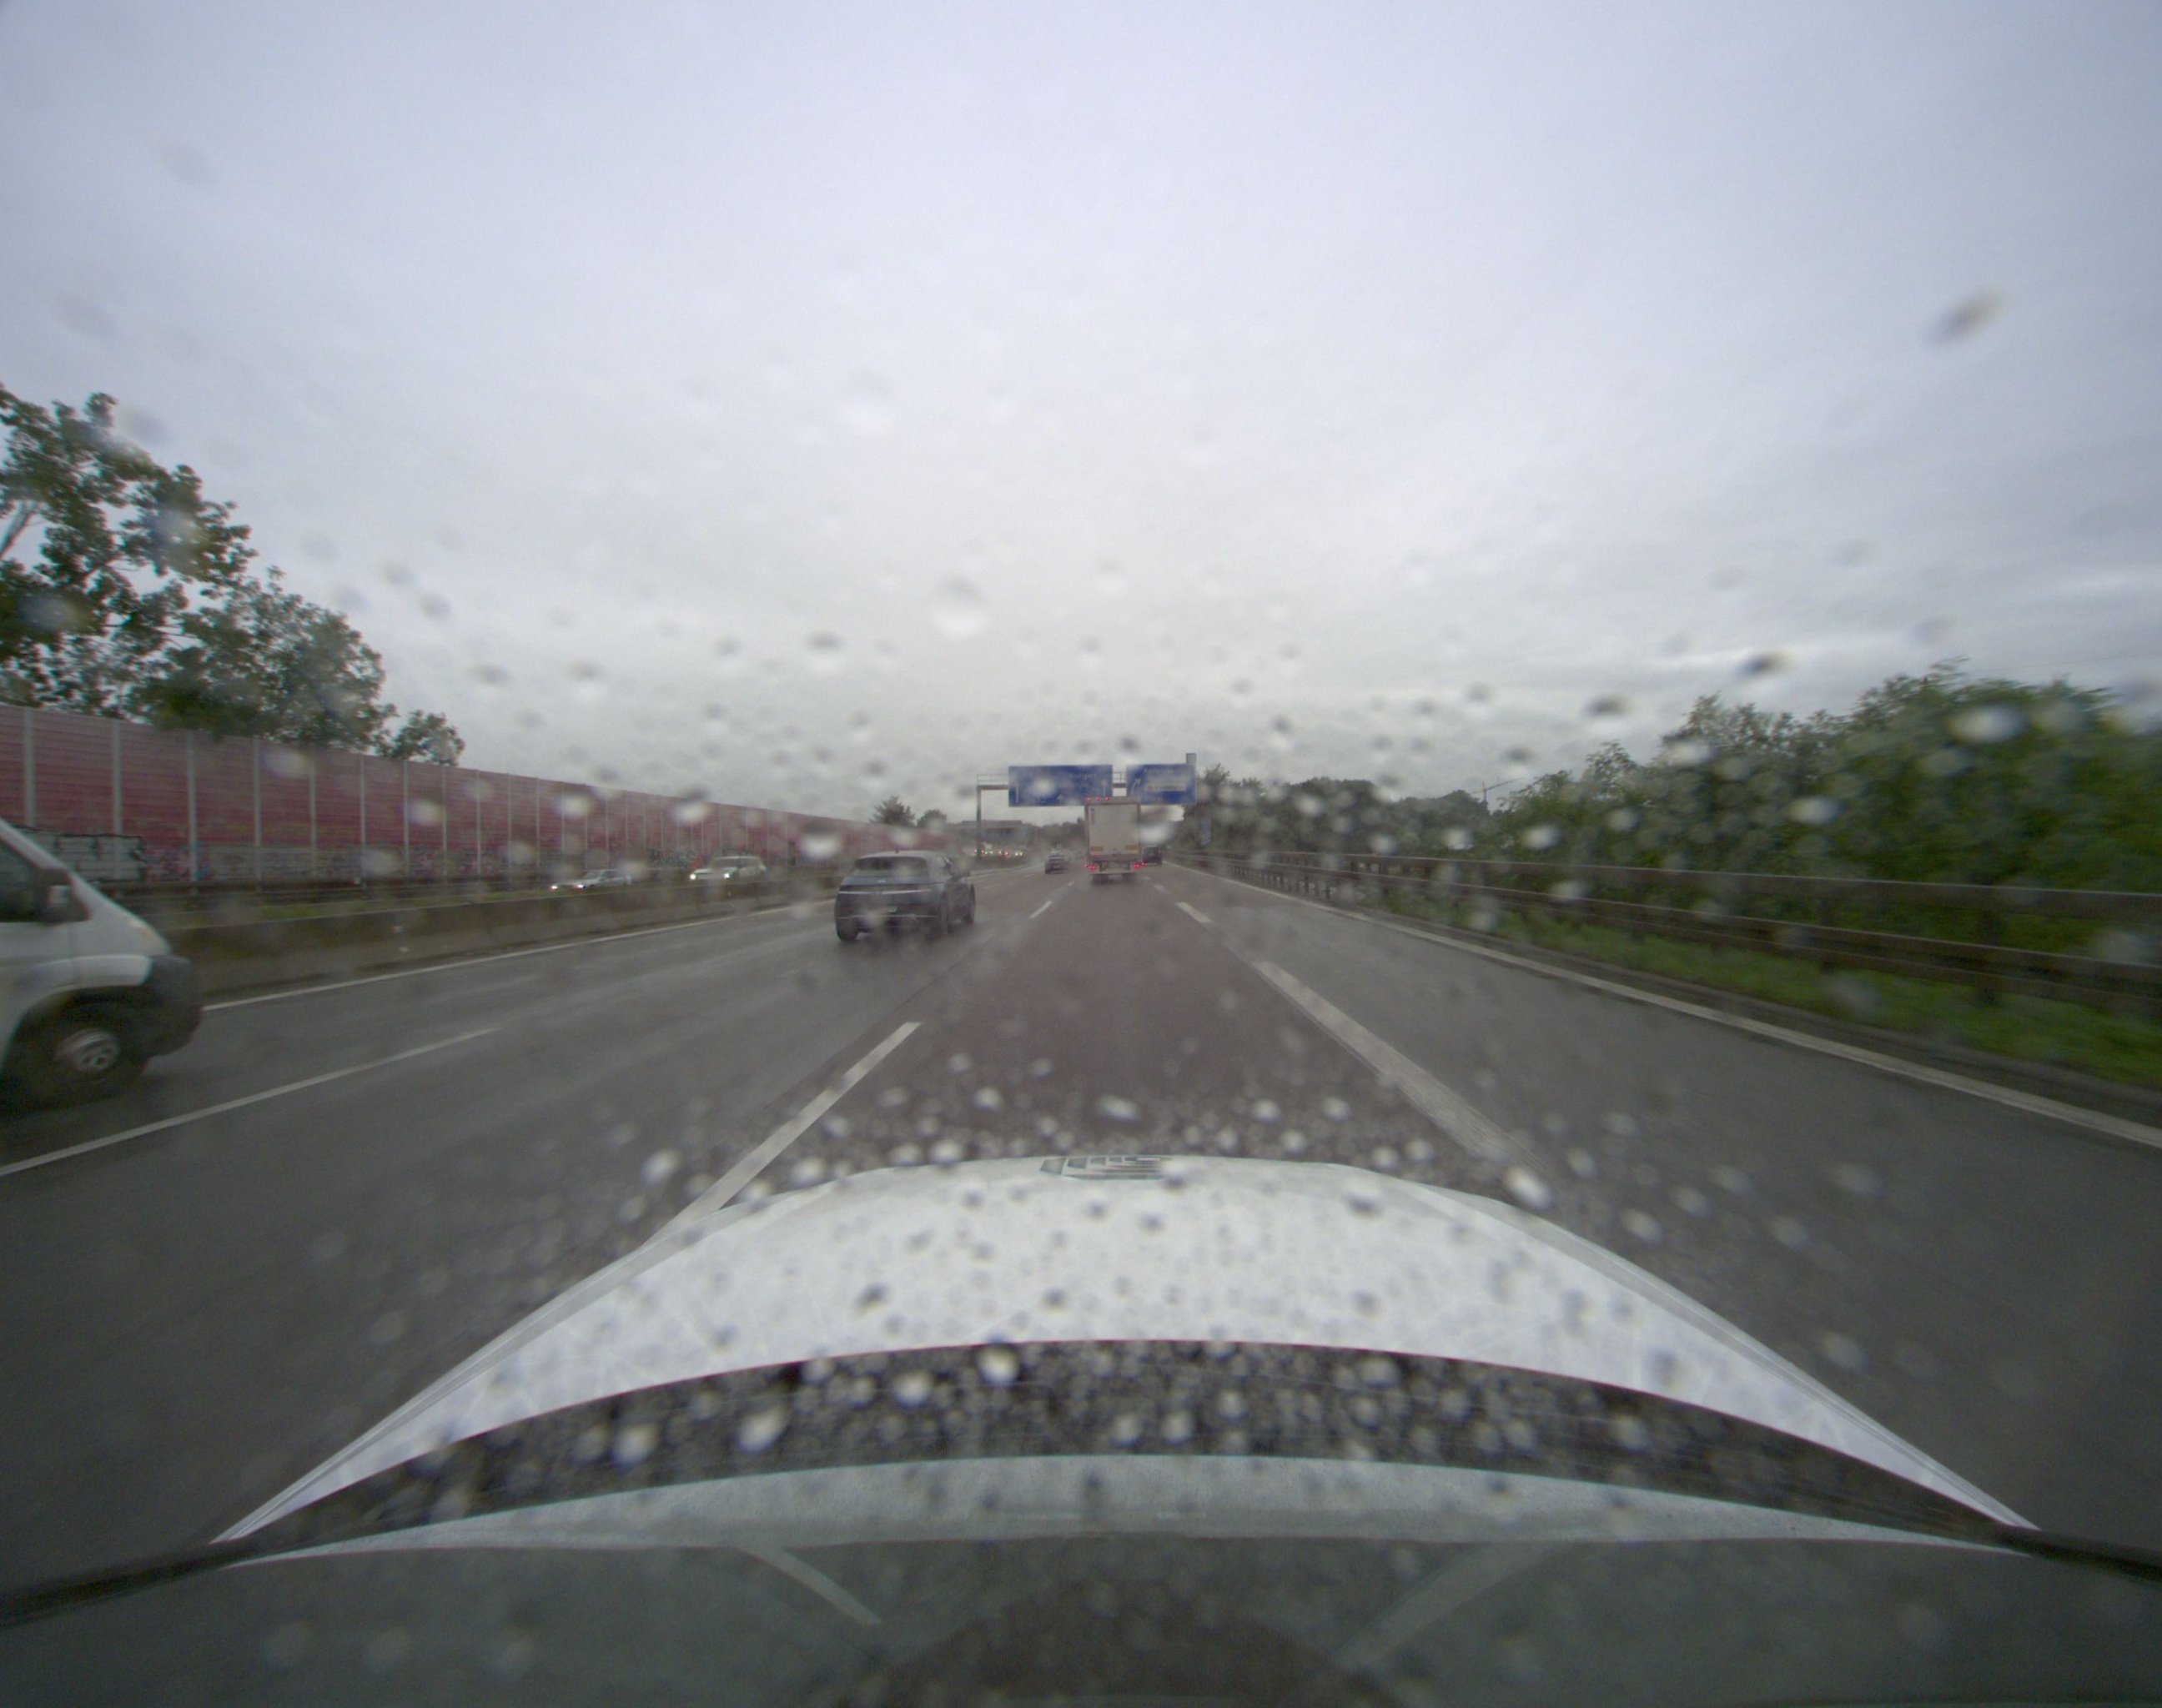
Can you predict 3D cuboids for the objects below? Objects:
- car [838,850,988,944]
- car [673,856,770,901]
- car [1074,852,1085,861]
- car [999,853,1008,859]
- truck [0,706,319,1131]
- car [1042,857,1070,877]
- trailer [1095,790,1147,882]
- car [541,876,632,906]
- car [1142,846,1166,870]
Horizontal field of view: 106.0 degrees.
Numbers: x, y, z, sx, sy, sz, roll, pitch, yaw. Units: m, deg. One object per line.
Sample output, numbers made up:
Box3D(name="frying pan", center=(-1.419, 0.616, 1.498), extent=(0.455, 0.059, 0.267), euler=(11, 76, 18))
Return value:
Box3D(name="car", center=(-3.210, 0.763, 16.695), extent=(1.832, 1.594, 5.158), euler=(-1, 0, 2))
Box3D(name="car", center=(-17.577, 1.134, 40.230), extent=(1.986, 2.013, 5.809), euler=(2, 0, 2))
Box3D(name="car", center=(-0.261, 0.476, 148.741), extent=(1.886, 1.723, 4.002), euler=(0, 0, 2))
Box3D(name="car", center=(-20.930, 0.527, 220.656), extent=(1.986, 1.571, 4.000), euler=(2, 0, 1))
Box3D(name="truck", center=(-7.474, 0.391, 3.402), extent=(2.229, 2.479, 6.585), euler=(-1, 0, 2))
Box3D(name="car", center=(-1.801, 0.962, 60.916), extent=(1.718, 1.403, 4.831), euler=(1, 0, 2))
Box3D(name="trailer", center=(2.137, -0.929, 44.261), extent=(2.333, 4.157, 14.837), euler=(0, 1, 3))
Box3D(name="car", center=(-24.672, 1.819, 40.808), extent=(1.852, 1.294, 4.279), euler=(-1, 0, 1))
Box3D(name="car", center=(6.327, 0.329, 70.892), extent=(1.889, 1.949, 4.004), euler=(2, 0, 4))
